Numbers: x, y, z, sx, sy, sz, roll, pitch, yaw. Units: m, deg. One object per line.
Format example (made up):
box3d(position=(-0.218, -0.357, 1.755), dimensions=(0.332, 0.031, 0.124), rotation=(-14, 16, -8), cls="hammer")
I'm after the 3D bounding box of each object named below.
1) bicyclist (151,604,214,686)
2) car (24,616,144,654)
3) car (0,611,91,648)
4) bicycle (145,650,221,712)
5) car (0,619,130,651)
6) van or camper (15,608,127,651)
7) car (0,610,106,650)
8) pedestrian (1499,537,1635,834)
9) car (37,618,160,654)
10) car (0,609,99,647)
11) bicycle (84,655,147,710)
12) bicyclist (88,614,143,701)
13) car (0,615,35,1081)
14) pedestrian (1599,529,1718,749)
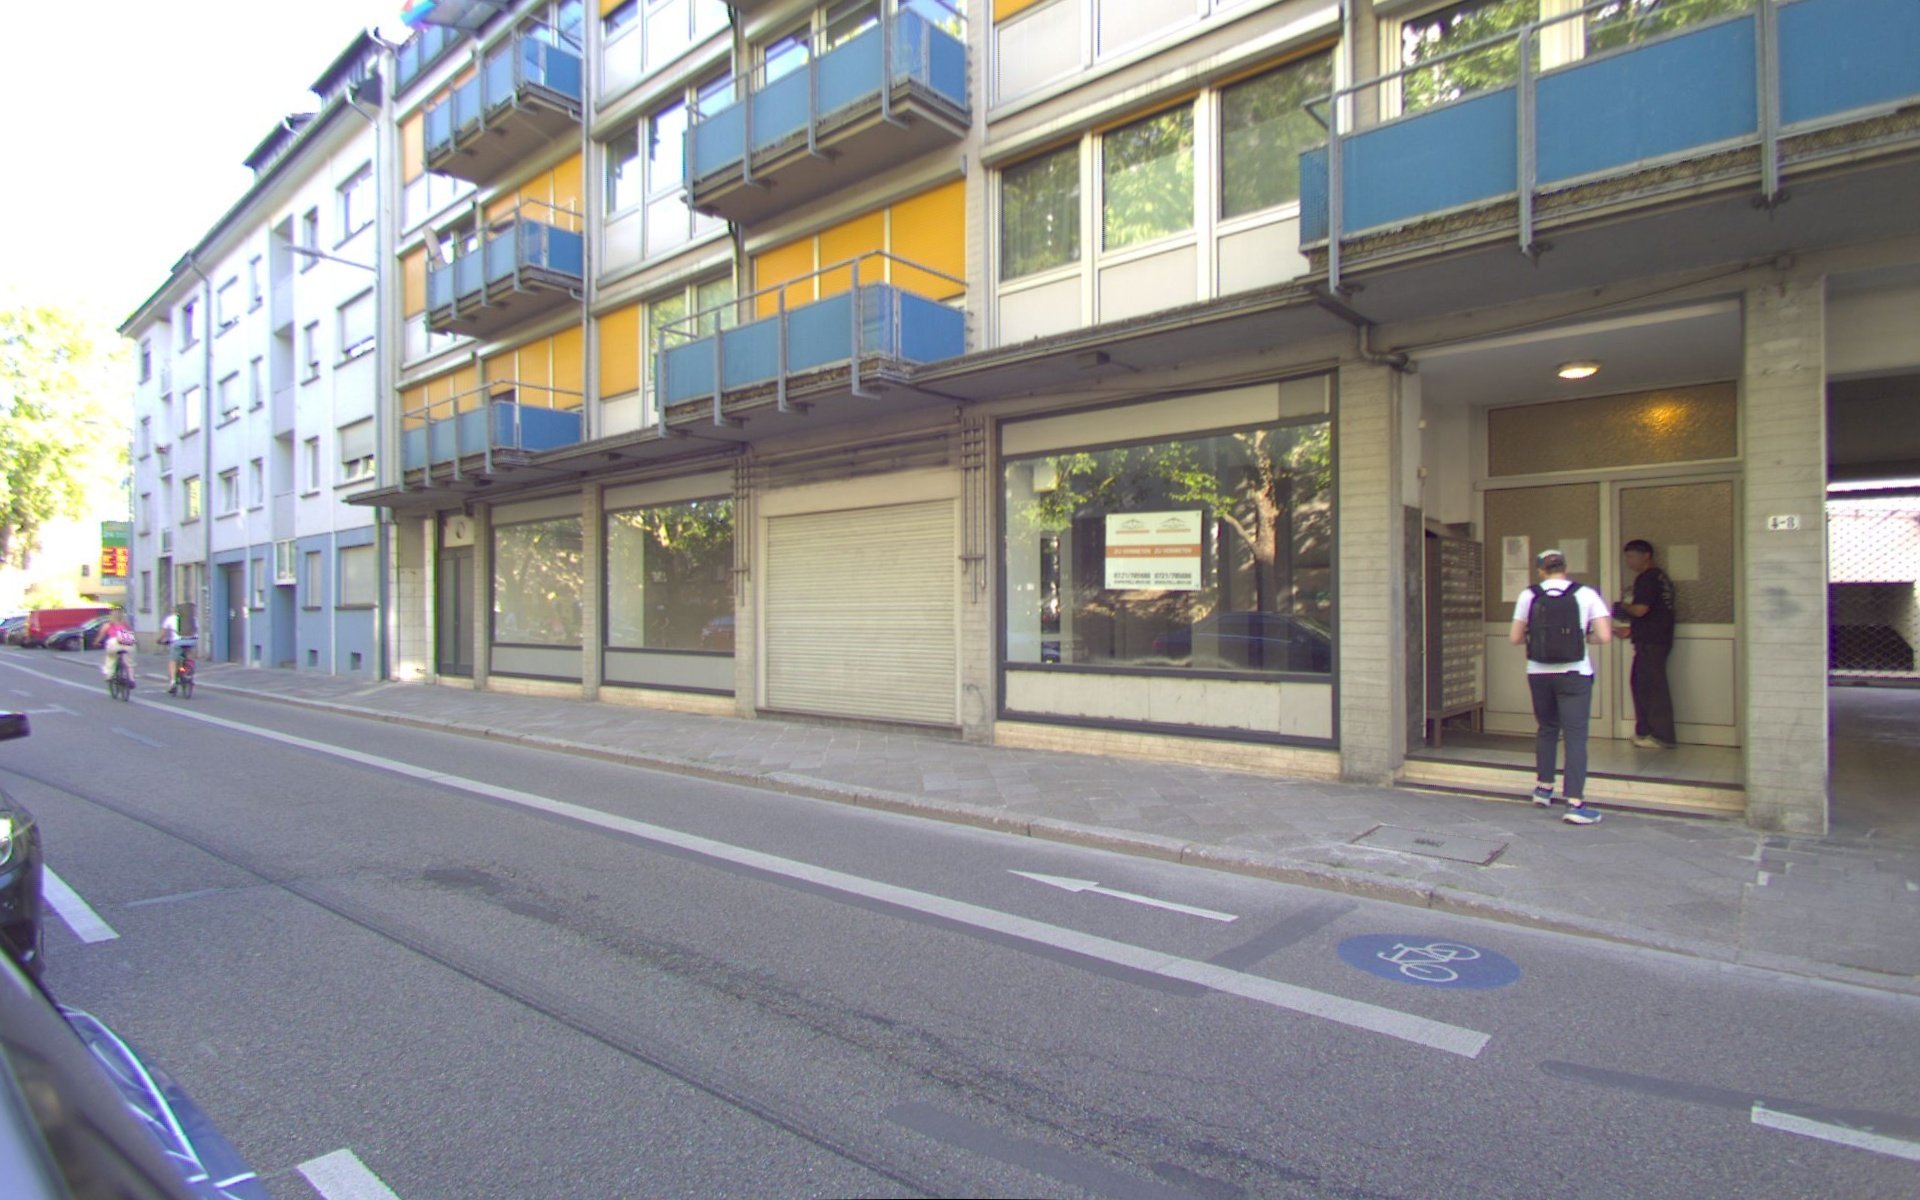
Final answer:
box3d(position=(-15.247, 0.862, 19.845), dimensions=(0.839, 1.566, 0.833), rotation=(-1, -1, 41), cls="bicyclist")
box3d(position=(-41.628, 1.623, 48.159), dimensions=(1.999, 1.703, 4.093), rotation=(-1, -1, 41), cls="car")
box3d(position=(-57.391, 1.826, 62.853), dimensions=(1.999, 2.210, 4.927), rotation=(-1, -1, 41), cls="car")
box3d(position=(-15.230, 1.553, 19.826), dimensions=(1.835, 1.087, 0.854), rotation=(-1, -1, 41), cls="bicycle")
box3d(position=(-45.717, 1.754, 51.694), dimensions=(1.999, 1.506, 4.927), rotation=(-1, -1, 41), cls="car")
box3d(position=(-43.885, 1.434, 50.002), dimensions=(1.999, 2.029, 3.946), rotation=(-1, -1, 40), cls="van or camper")
box3d(position=(-53.310, 1.740, 59.192), dimensions=(1.999, 2.210, 4.927), rotation=(-1, -1, 41), cls="car")
box3d(position=(4.029, 0.517, 6.700), dimensions=(0.601, 1.813, 0.867), rotation=(-1, 0, 41), cls="pedestrian")
box3d(position=(-39.748, 1.635, 46.775), dimensions=(1.999, 1.506, 4.093), rotation=(-1, -1, 41), cls="car")
box3d(position=(-55.398, 1.676, 61.143), dimensions=(1.999, 2.210, 4.927), rotation=(-1, -1, 41), cls="car")
box3d(position=(-15.991, 1.538, 19.150), dimensions=(1.863, 0.936, 0.686), rotation=(-1, -1, 42), cls="bicycle")
box3d(position=(-15.942, 1.058, 19.094), dimensions=(0.982, 1.590, 0.677), rotation=(-1, -1, 42), cls="bicyclist")
box3d(position=(-5.002, 0.820, 3.850), dimensions=(3.861, 1.467, 1.718), rotation=(-1, -1, 40), cls="car")
box3d(position=(5.757, 0.306, 8.344), dimensions=(0.650, 1.726, 0.550), rotation=(0, -1, -30), cls="pedestrian")
